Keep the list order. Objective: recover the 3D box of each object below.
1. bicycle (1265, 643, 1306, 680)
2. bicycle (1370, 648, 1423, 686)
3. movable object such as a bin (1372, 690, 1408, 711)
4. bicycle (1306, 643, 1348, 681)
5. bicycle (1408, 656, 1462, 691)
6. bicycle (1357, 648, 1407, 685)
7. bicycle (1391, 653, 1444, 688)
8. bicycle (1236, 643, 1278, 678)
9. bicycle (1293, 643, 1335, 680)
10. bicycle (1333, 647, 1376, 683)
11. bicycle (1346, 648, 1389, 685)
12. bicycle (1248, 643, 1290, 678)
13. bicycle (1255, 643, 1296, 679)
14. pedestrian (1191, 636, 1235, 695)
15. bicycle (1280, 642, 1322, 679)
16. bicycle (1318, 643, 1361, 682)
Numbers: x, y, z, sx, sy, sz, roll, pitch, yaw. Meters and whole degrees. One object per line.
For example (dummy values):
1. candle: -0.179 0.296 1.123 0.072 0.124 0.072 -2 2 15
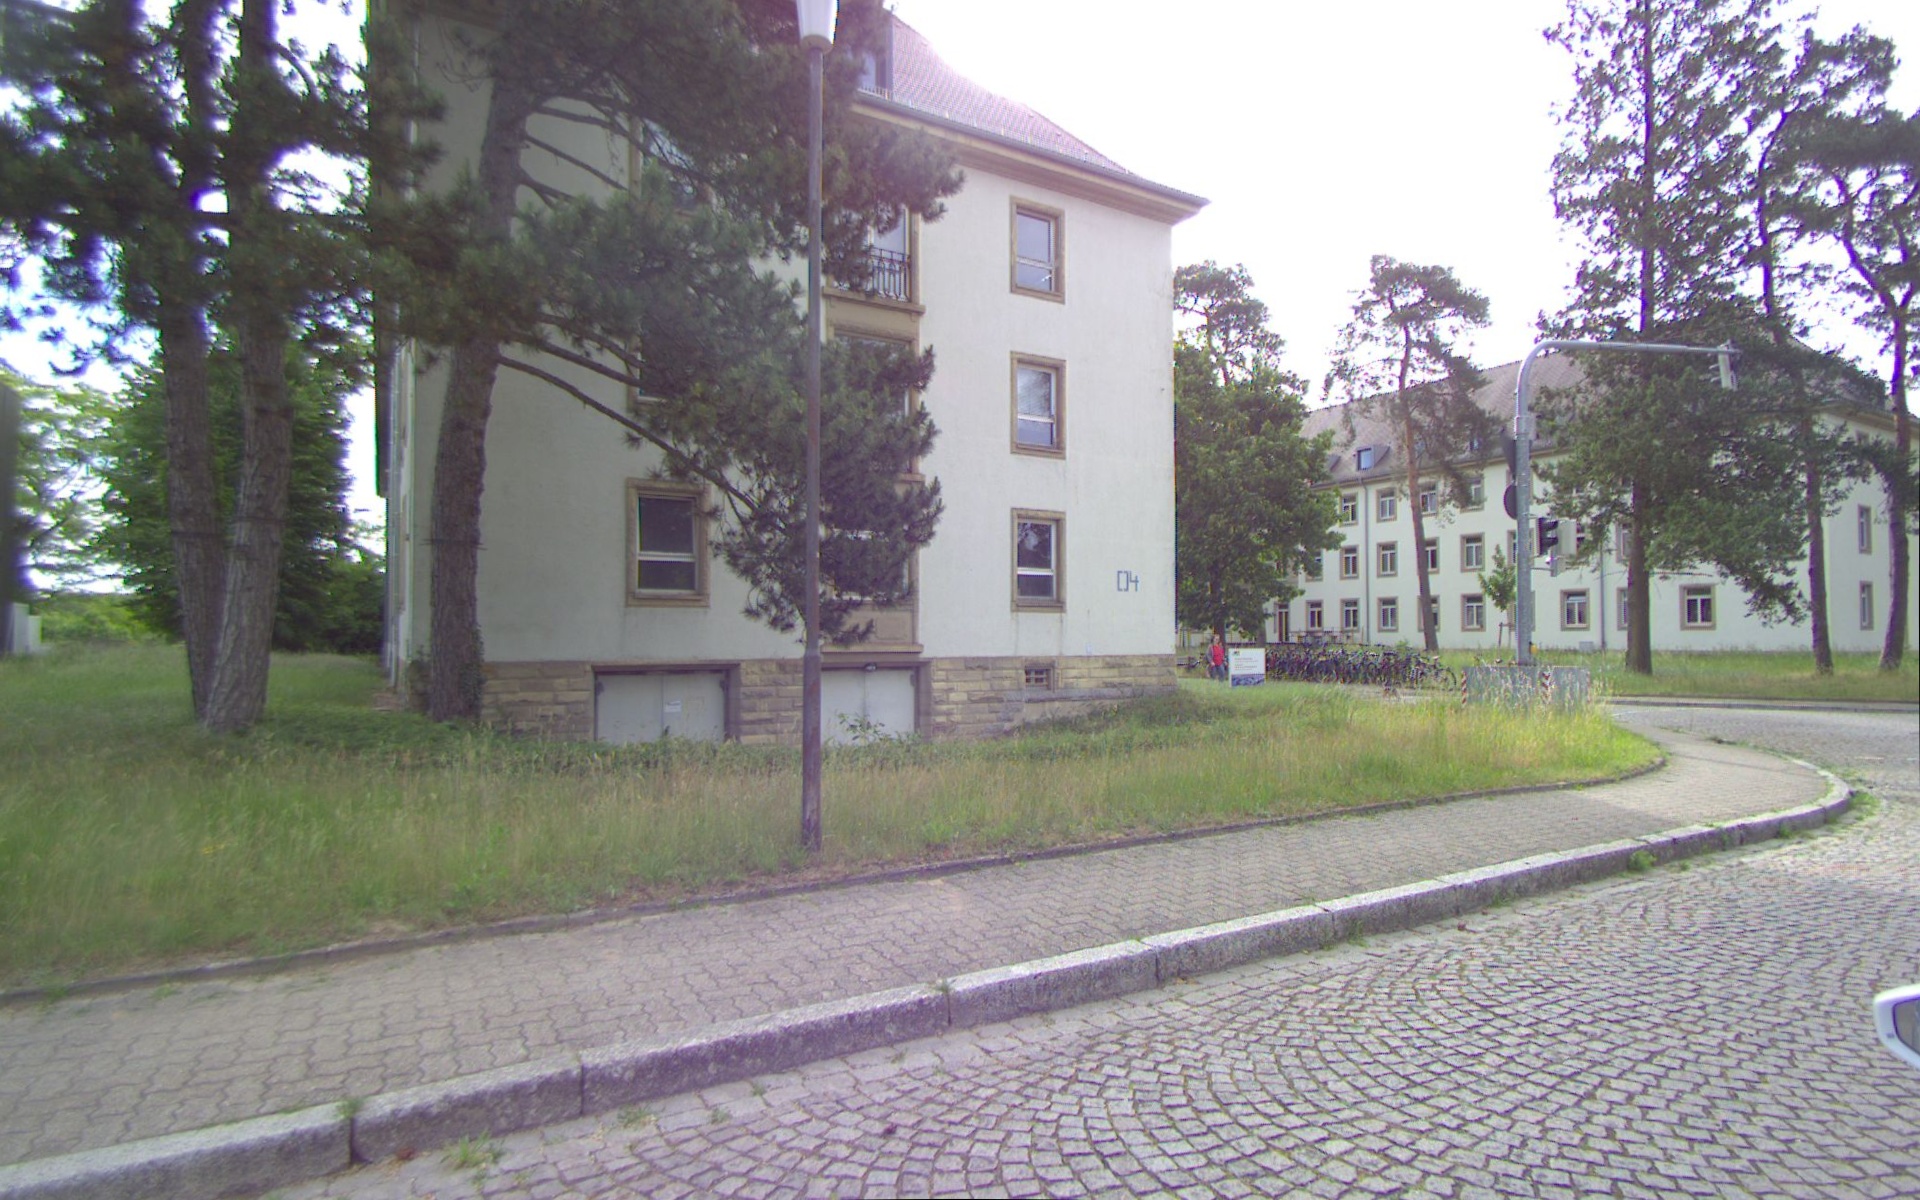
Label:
1. bicycle: 11.836 2.229 36.483 1.677 1.300 0.446 1 -3 -33
2. bicycle: 14.177 2.170 32.602 1.932 1.193 0.572 1 -3 -33
3. movable object such as a bin: 11.109 2.592 25.969 0.440 0.510 0.746 1 -3 -32
4. bicycle: 12.793 2.154 35.032 1.677 1.300 0.446 1 -3 -33
5. bicycle: 14.145 2.171 29.965 0.447 1.009 1.453 1 -3 -29
6. bicycle: 13.918 2.179 33.127 1.909 1.193 0.524 1 -3 -33
7. bicycle: 14.603 2.232 32.049 1.974 1.092 0.572 1 -3 -33
8. bicycle: 11.166 2.249 37.736 1.808 1.300 0.446 1 -3 -33
9. bicycle: 12.497 2.160 35.453 1.677 1.300 0.446 1 -3 -33
10. bicycle: 13.351 2.190 33.947 1.677 1.193 0.446 1 -3 -33
11. bicycle: 13.613 2.197 33.539 1.677 1.193 0.446 1 -3 -33
12. bicycle: 11.511 2.244 37.405 1.766 1.300 0.440 1 -3 -33
13. bicycle: 11.581 2.234 36.897 1.677 1.300 0.446 1 -3 -33
14. pedestrian: 7.429 1.910 29.486 0.928 1.690 0.856 1 -2 -29
15. bicycle: 12.194 2.167 35.926 1.677 1.300 0.446 1 -3 -33
16. bicycle: 13.082 2.149 34.618 1.677 1.300 0.446 1 -3 -33
